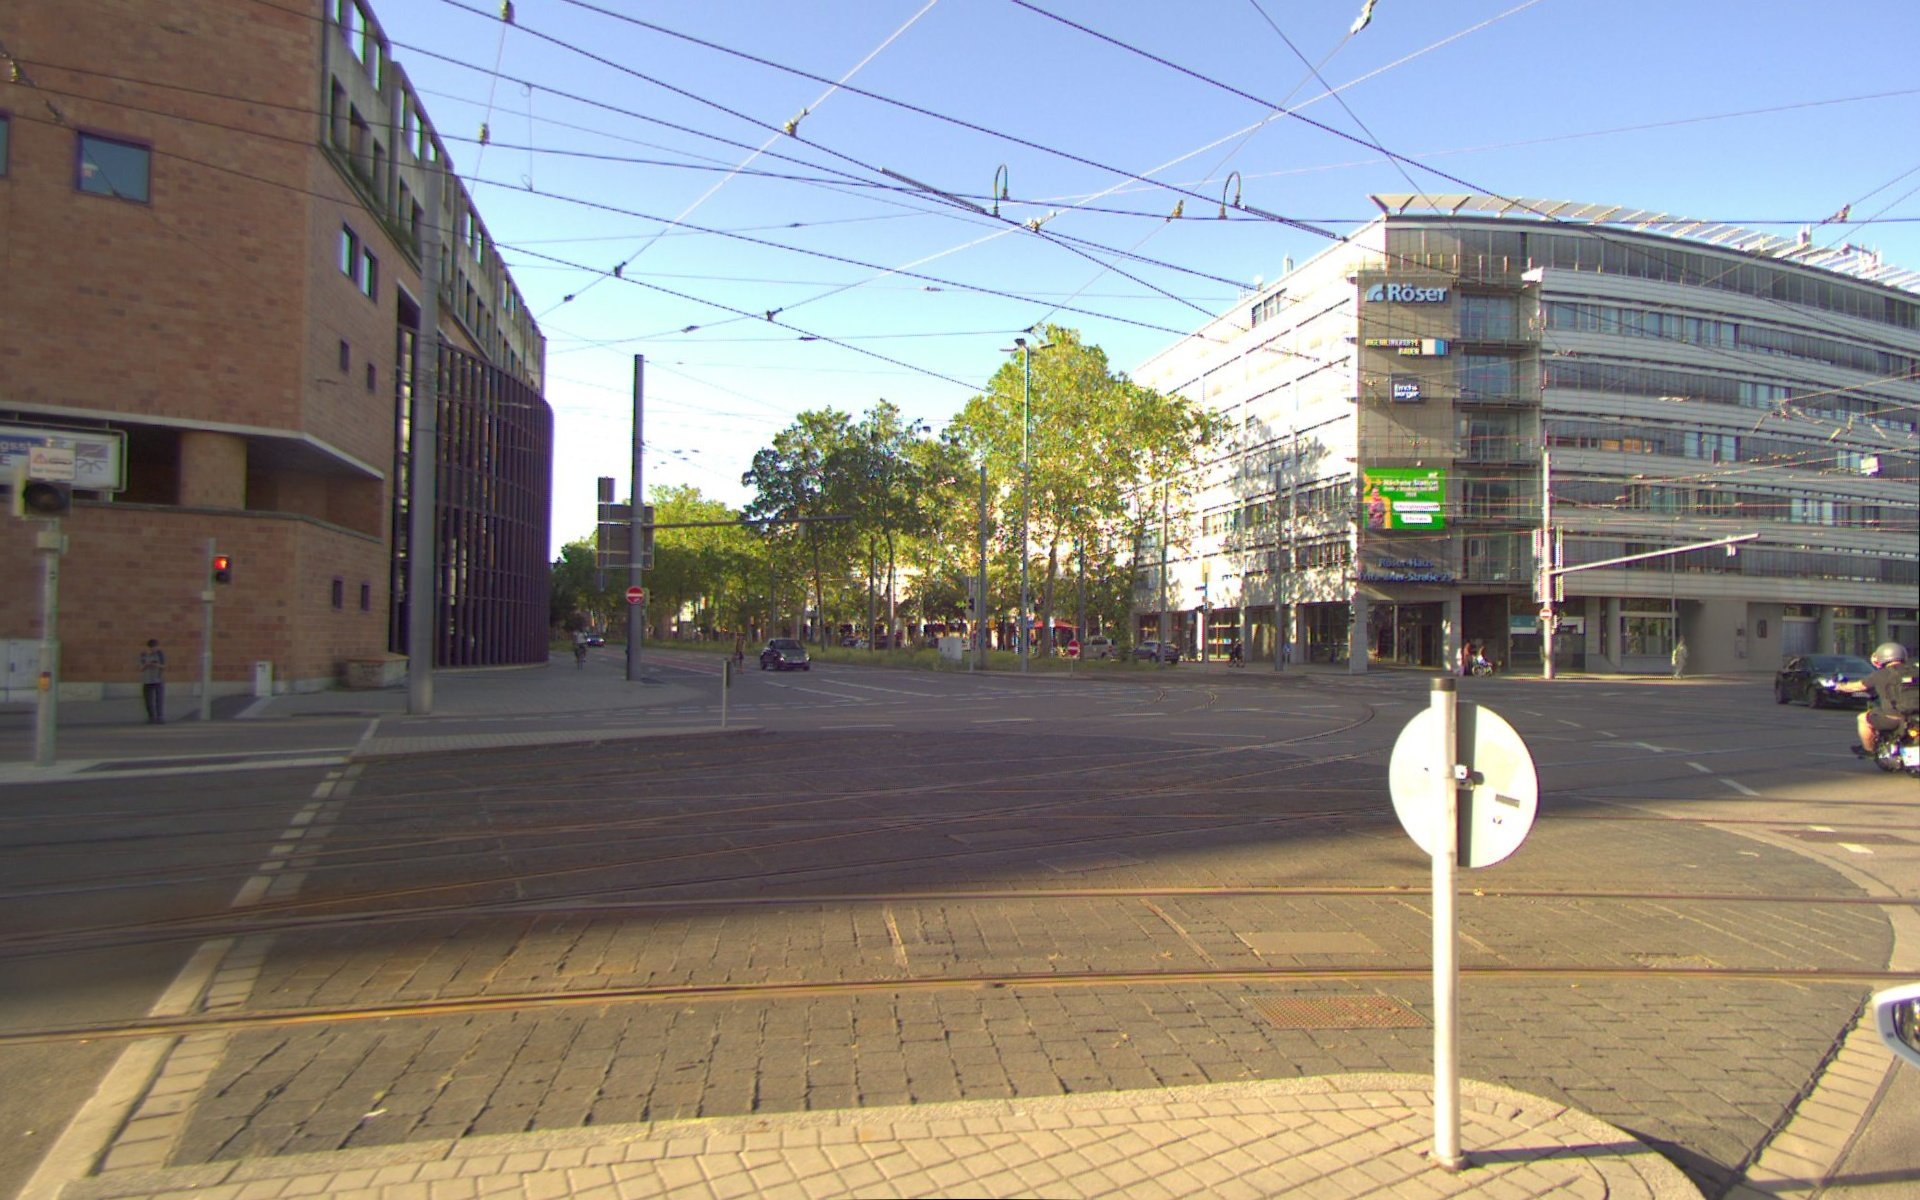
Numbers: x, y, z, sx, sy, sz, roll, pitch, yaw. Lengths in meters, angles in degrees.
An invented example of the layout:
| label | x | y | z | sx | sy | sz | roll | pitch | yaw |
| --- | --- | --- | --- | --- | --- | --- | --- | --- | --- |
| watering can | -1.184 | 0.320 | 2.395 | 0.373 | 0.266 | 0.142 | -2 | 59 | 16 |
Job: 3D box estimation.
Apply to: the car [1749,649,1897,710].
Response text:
| label | x | y | z | sx | sy | sz | roll | pitch | yaw |
| --- | --- | --- | --- | --- | --- | --- | --- | --- | --- |
| car | 23.487 | 2.110 | 27.534 | 1.762 | 1.485 | 4.310 | -1 | -2 | 22 |

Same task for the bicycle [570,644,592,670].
| label | x | y | z | sx | sy | sz | roll | pitch | yaw |
| --- | --- | --- | --- | --- | --- | --- | --- | --- | --- |
| bicycle | -16.770 | 2.521 | 44.483 | 0.606 | 1.093 | 1.916 | 1 | -2 | -11 |

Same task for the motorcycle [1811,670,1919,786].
| label | x | y | z | sx | sy | sz | roll | pitch | yaw |
| --- | --- | --- | --- | --- | --- | --- | --- | --- | --- |
| motorcycle | 10.937 | 1.453 | 11.728 | 0.990 | 1.140 | 2.320 | 1 | -1 | 26 |

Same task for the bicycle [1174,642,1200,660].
| label | x | y | z | sx | sy | sz | roll | pitch | yaw |
| --- | --- | --- | --- | --- | --- | --- | --- | --- | --- |
| bicycle | 15.762 | 3.536 | 69.640 | 1.811 | 1.167 | 0.468 | 0 | -1 | -22 |

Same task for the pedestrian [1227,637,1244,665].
| label | x | y | z | sx | sy | sz | roll | pitch | yaw |
| --- | --- | --- | --- | --- | --- | --- | --- | --- | --- |
| pedestrian | 16.658 | 3.085 | 60.718 | 0.599 | 1.633 | 0.831 | -2 | 1 | -29 |

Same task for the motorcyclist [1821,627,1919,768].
| label | x | y | z | sx | sy | sz | roll | pitch | yaw |
| --- | --- | --- | --- | --- | --- | --- | --- | --- | --- |
| motorcyclist | 10.993 | 1.109 | 11.824 | 1.006 | 1.573 | 1.285 | 1 | -1 | 27 |

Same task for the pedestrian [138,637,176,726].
| label | x | y | z | sx | sy | sz | roll | pitch | yaw |
| --- | --- | --- | --- | --- | --- | --- | --- | --- | --- |
| pedestrian | -15.159 | 1.527 | 18.967 | 0.501 | 1.638 | 0.504 | 2 | -1 | -39 |

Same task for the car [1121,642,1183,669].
| label | x | y | z | sx | sy | sz | roll | pitch | yaw |
| --- | --- | --- | --- | --- | --- | --- | --- | --- | --- |
| car | 12.595 | 3.643 | 66.259 | 1.839 | 1.593 | 4.390 | -1 | -1 | -23 |

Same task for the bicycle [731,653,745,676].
| label | x | y | z | sx | sy | sz | roll | pitch | yaw |
| --- | --- | --- | --- | --- | --- | --- | --- | --- | --- |
| bicycle | -9.571 | 2.781 | 43.309 | 0.528 | 0.925 | 1.565 | 1 | -2 | -14 |

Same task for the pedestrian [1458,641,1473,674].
| label | x | y | z | sx | sy | sz | roll | pitch | yaw |
| --- | --- | --- | --- | --- | --- | --- | --- | --- | --- |
| pedestrian | 26.751 | 3.055 | 53.178 | 0.627 | 1.731 | 0.580 | 0 | -2 | 33 |

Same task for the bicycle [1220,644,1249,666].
| label | x | y | z | sx | sy | sz | roll | pitch | yaw |
| --- | --- | --- | --- | --- | --- | --- | --- | --- | --- |
| bicycle | 16.542 | 3.309 | 60.656 | 0.604 | 1.179 | 1.836 | -2 | 0 | -26 |

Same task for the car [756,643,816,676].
| label | x | y | z | sx | sy | sz | roll | pitch | yaw |
| --- | --- | --- | --- | --- | --- | --- | --- | --- | --- |
| car | -8.164 | 2.752 | 46.997 | 1.636 | 1.346 | 3.593 | 2 | -1 | -30 |

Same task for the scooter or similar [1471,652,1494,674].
| label | x | y | z | sx | sy | sz | roll | pitch | yaw |
| --- | --- | --- | --- | --- | --- | --- | --- | --- | --- |
| scooter or similar | 27.423 | 3.306 | 52.724 | 1.001 | 1.144 | 0.549 | -1 | -2 | 33 |

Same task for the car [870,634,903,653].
| label | x | y | z | sx | sy | sz | roll | pitch | yaw |
| --- | --- | --- | --- | --- | --- | --- | --- | --- | --- |
| car | -7.972 | 4.640 | 107.962 | 2.010 | 2.003 | 4.384 | 0 | -2 | -27 |

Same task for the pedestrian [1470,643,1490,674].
| label | x | y | z | sx | sy | sz | roll | pitch | yaw |
| --- | --- | --- | --- | --- | --- | --- | --- | --- | --- |
| pedestrian | 27.894 | 3.118 | 53.914 | 0.645 | 1.638 | 0.720 | 1 | -2 | -19 |

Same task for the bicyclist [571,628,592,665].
| label | x | y | z | sx | sy | sz | roll | pitch | yaw |
| --- | --- | --- | --- | --- | --- | --- | --- | --- | --- |
| bicyclist | -16.787 | 2.069 | 44.544 | 0.674 | 1.611 | 0.926 | 1 | -2 | -12 |

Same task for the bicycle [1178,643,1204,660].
| label | x | y | z | sx | sy | sz | roll | pitch | yaw |
| --- | --- | --- | --- | --- | --- | --- | --- | --- | --- |
| bicycle | 15.932 | 3.532 | 69.195 | 1.811 | 1.167 | 0.468 | 0 | -1 | -22 |

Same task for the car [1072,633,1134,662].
| label | x | y | z | sx | sy | sz | roll | pitch | yaw |
| --- | --- | --- | --- | --- | --- | --- | --- | --- | --- |
| car | 10.079 | 3.323 | 71.118 | 1.903 | 1.868 | 4.892 | -1 | -1 | -26 |

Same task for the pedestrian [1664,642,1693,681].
| label | x | y | z | sx | sy | sz | roll | pitch | yaw |
| --- | --- | --- | --- | --- | --- | --- | --- | --- | --- |
| pedestrian | 34.130 | 2.930 | 47.727 | 0.667 | 1.847 | 0.881 | 2 | -3 | -23 |

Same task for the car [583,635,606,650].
| label | x | y | z | sx | sy | sz | roll | pitch | yaw |
| --- | --- | --- | --- | --- | --- | --- | --- | --- | --- |
| car | -43.390 | 5.018 | 119.287 | 1.807 | 1.582 | 4.307 | 2 | -1 | -30 |

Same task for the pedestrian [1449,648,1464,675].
| label | x | y | z | sx | sy | sz | roll | pitch | yaw |
| --- | --- | --- | --- | --- | --- | --- | --- | --- | --- |
| pedestrian | 25.997 | 3.215 | 52.595 | 0.627 | 1.420 | 0.545 | 0 | -2 | 33 |

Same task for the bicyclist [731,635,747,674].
| label | x | y | z | sx | sy | sz | roll | pitch | yaw |
| --- | --- | --- | --- | --- | --- | --- | --- | --- | --- |
| bicyclist | -9.498 | 2.346 | 43.168 | 0.614 | 1.643 | 0.812 | 1 | -2 | -15 |

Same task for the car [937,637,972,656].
| label | x | y | z | sx | sy | sz | roll | pitch | yaw |
| --- | --- | --- | --- | --- | --- | --- | --- | --- | --- |
| car | -0.537 | 4.249 | 92.403 | 1.839 | 1.659 | 3.846 | 1 | -2 | -23 |
